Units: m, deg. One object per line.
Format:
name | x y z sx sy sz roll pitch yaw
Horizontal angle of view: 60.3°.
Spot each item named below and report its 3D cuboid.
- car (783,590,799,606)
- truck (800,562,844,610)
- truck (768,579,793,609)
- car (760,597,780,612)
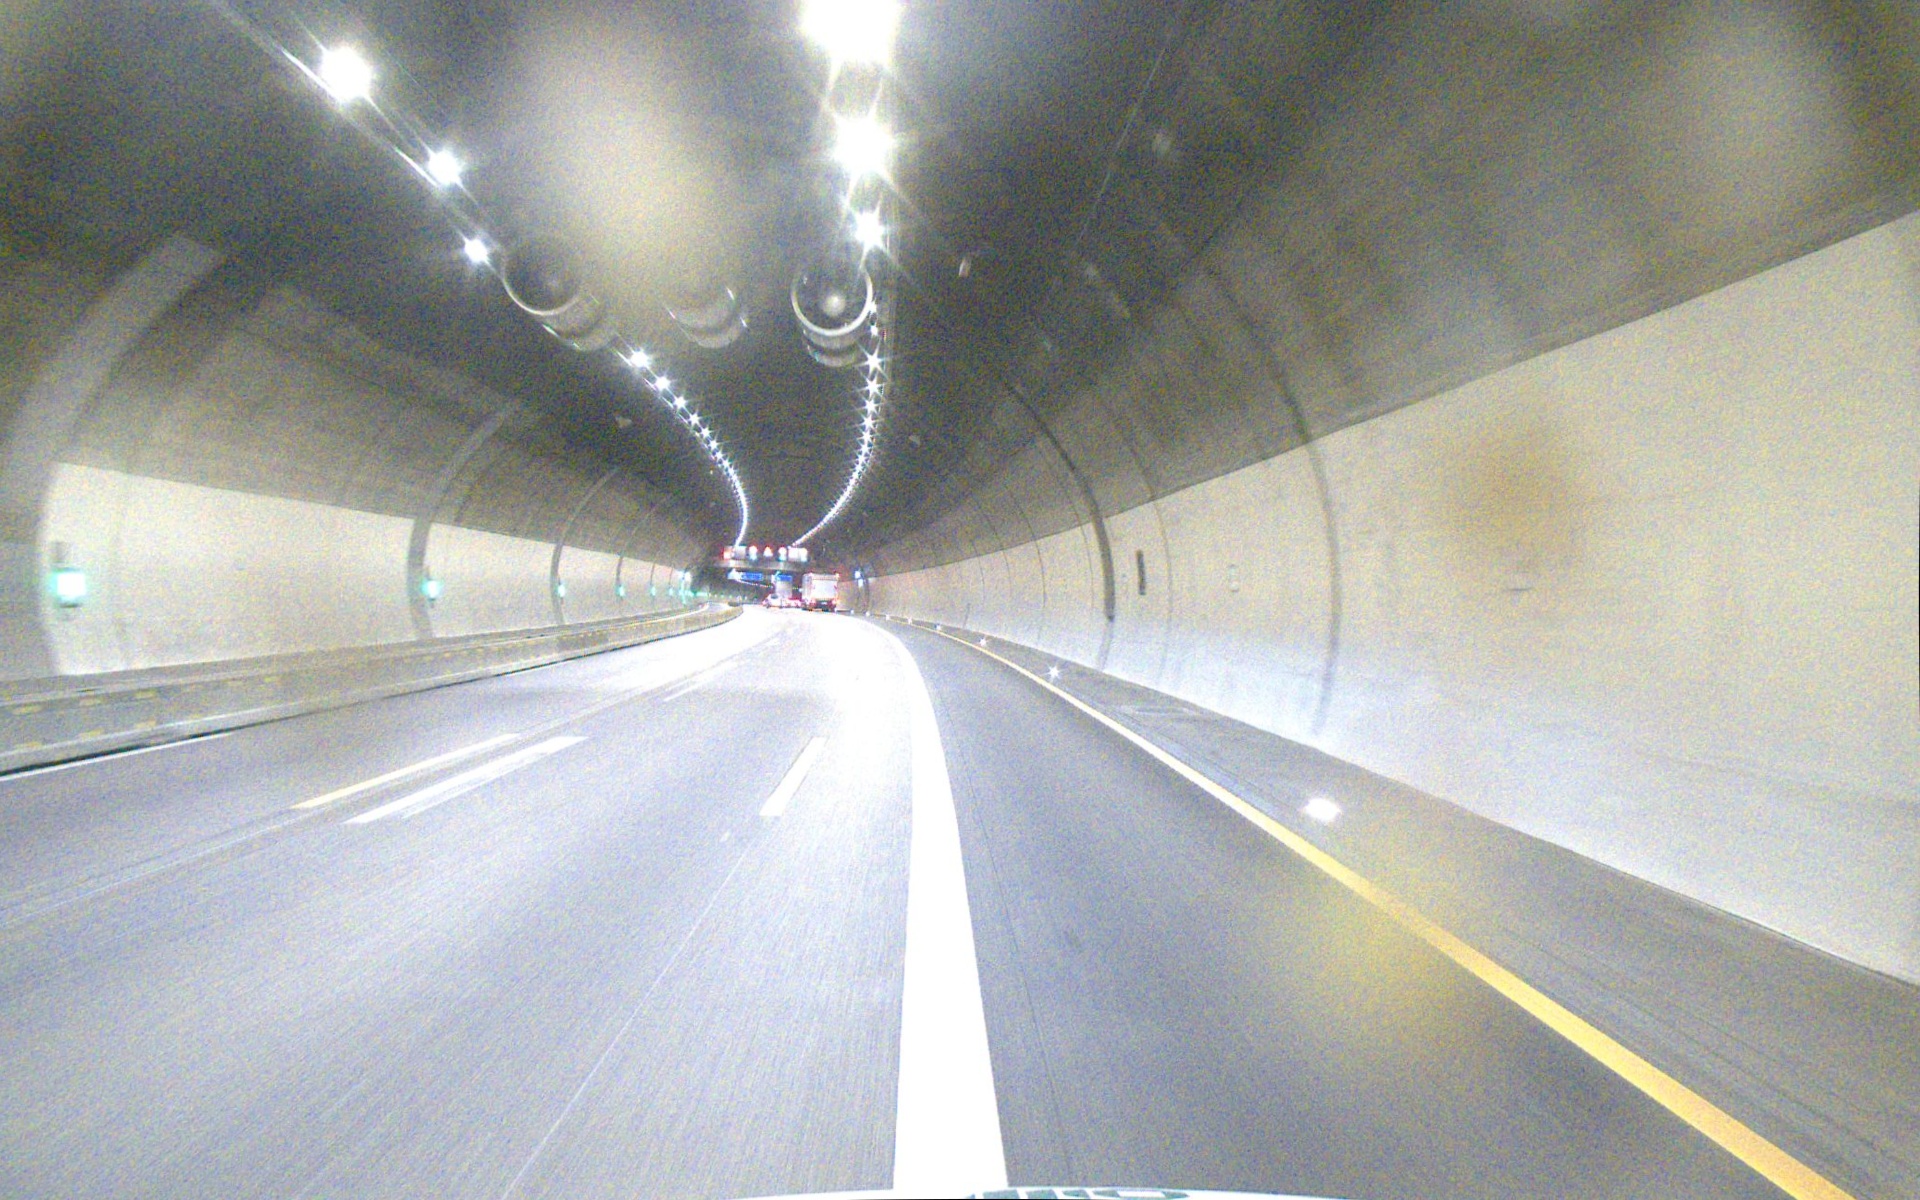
car | -22.135 -0.293 216.903 1.955 2.049 3.994 1 0 -7
truck | -13.291 -1.338 158.618 3.409 4.391 10.930 2 0 -9
truck | -27.923 -0.943 257.002 3.409 4.391 10.930 1 0 -8
car | -21.404 0.464 186.008 1.957 1.609 3.991 2 0 -9
